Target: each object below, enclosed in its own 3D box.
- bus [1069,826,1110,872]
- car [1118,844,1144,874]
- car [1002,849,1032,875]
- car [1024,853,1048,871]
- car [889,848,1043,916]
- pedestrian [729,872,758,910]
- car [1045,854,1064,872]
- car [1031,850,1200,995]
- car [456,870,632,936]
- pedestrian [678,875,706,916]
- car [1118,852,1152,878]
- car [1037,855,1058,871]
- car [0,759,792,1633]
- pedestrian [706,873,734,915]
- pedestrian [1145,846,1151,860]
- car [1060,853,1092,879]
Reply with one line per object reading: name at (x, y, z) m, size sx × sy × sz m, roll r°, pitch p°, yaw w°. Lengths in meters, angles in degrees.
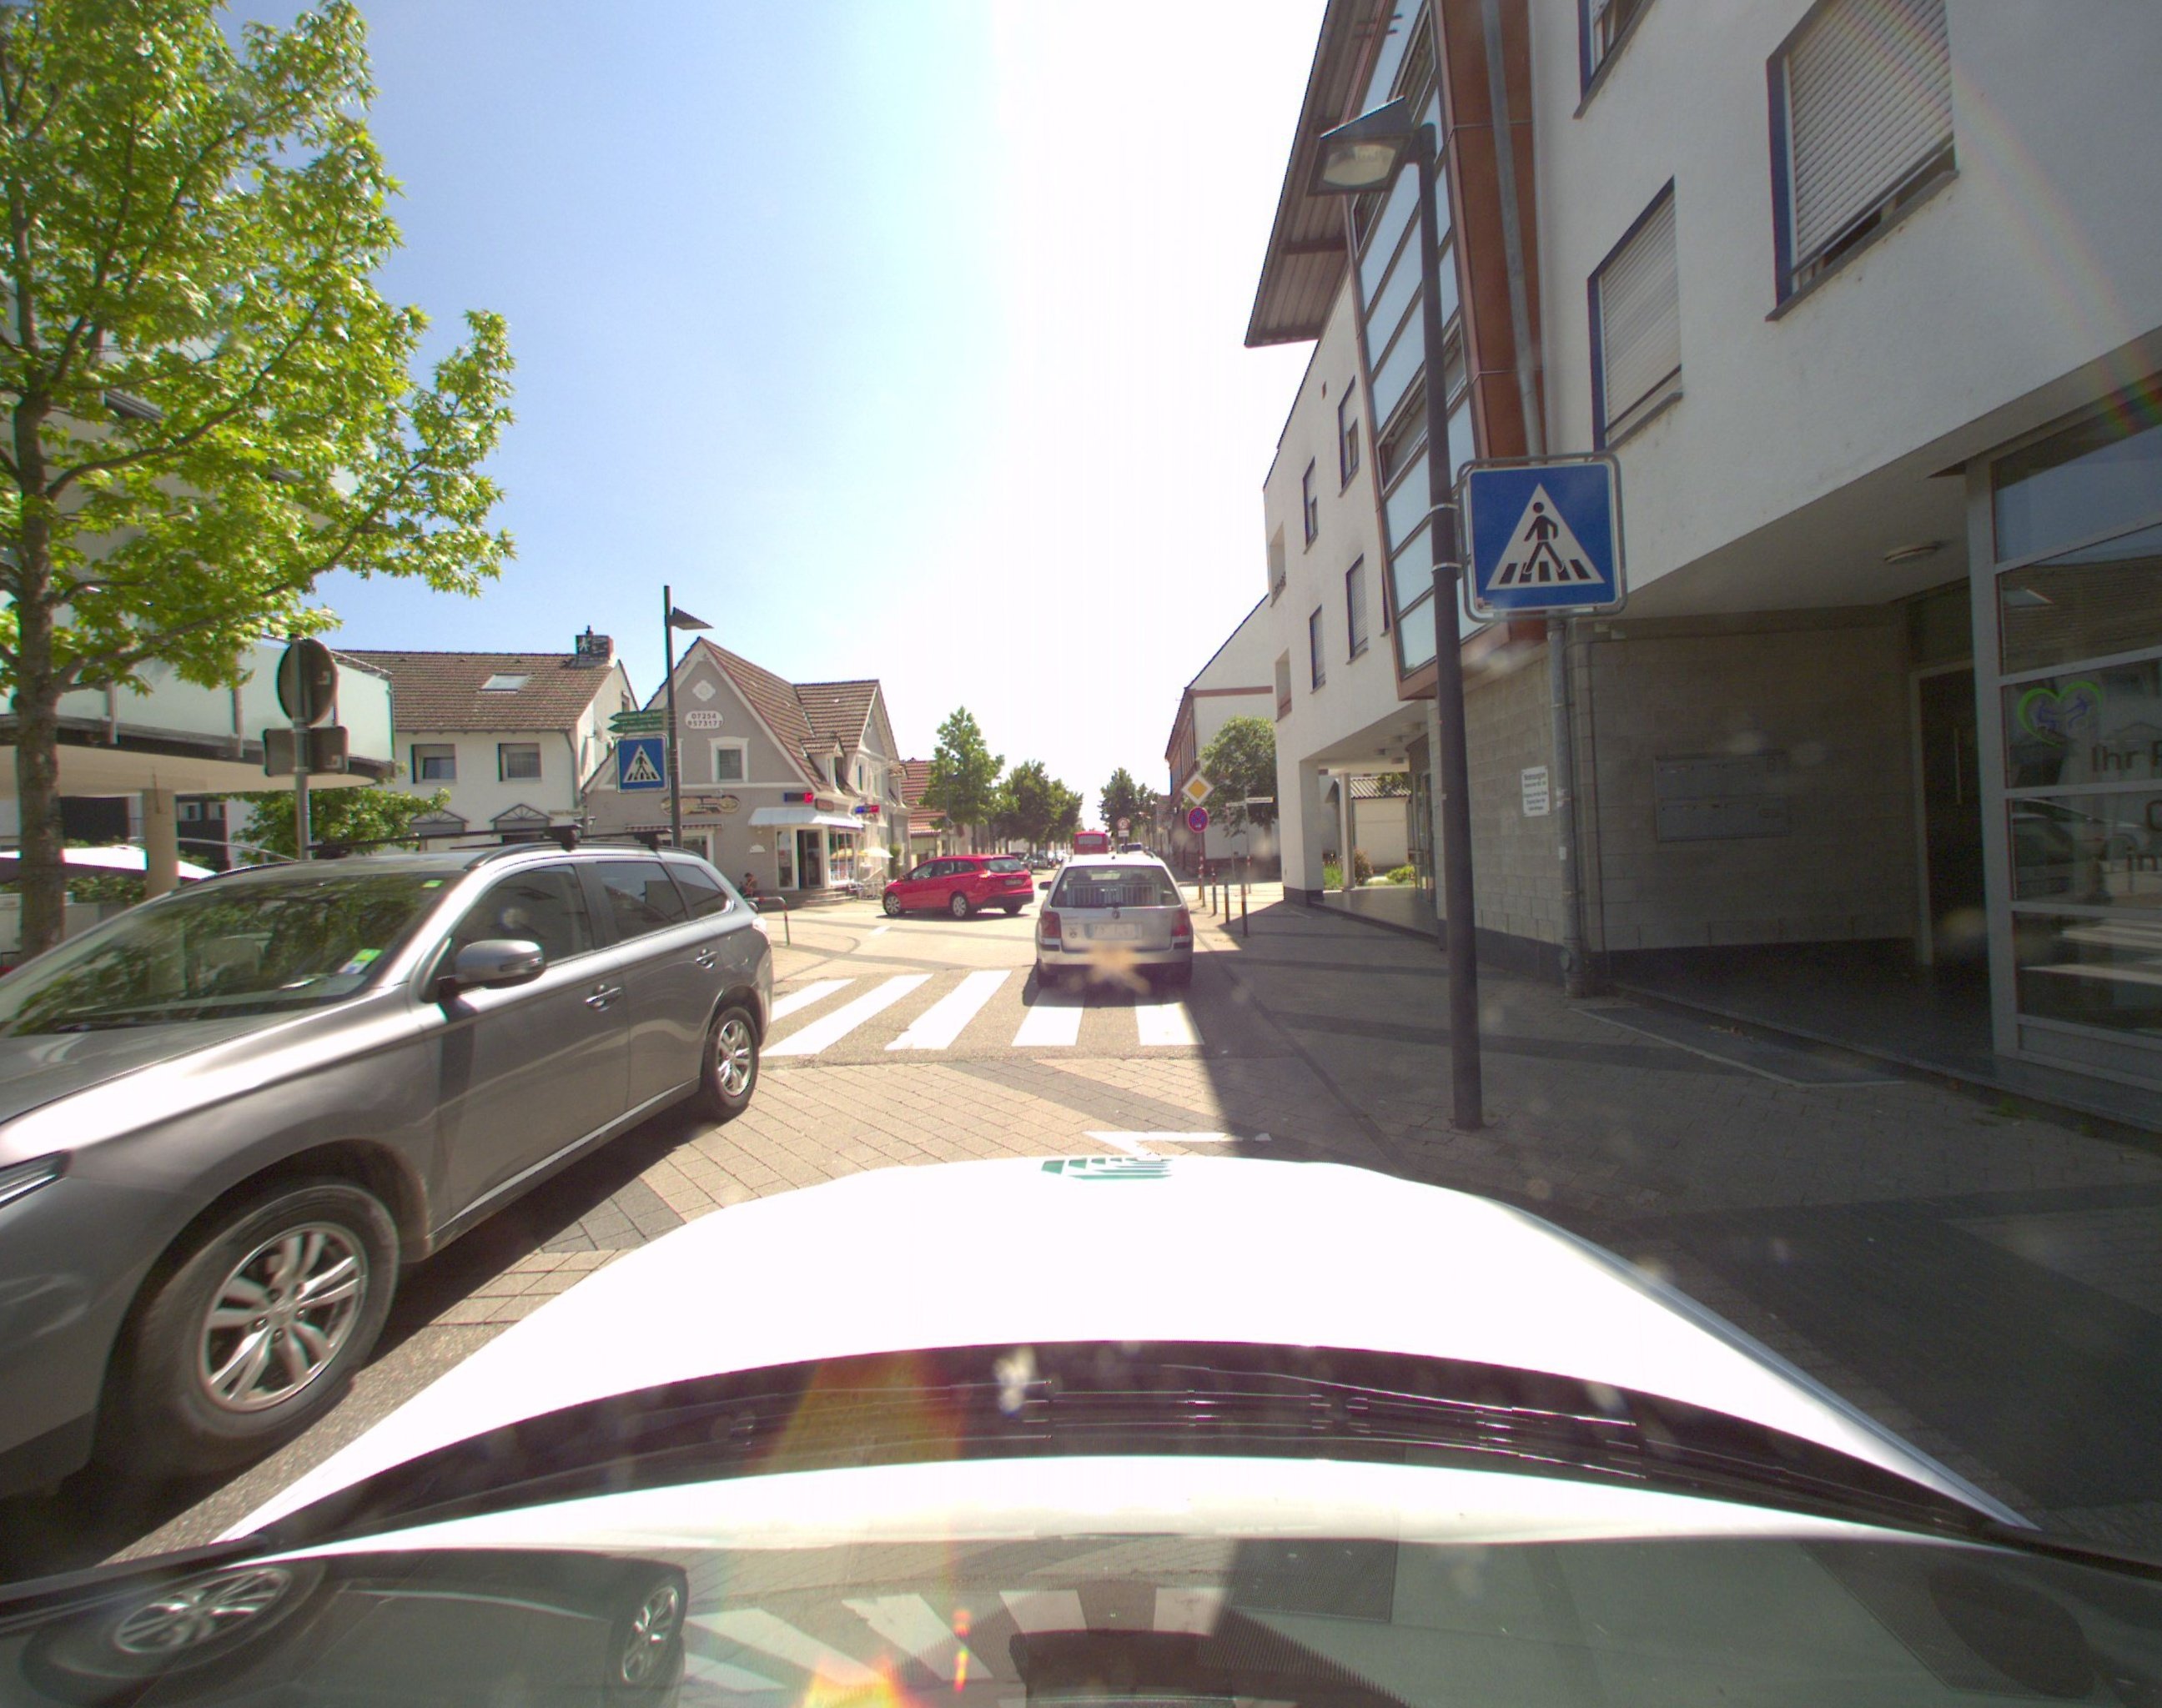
bus at (0.857, -0.352, 66.745) m, size 2.729 × 3.298 × 12.714 m, roll -2°, pitch 0°, yaw 3°
car at (3.697, 0.371, 60.881) m, size 1.781 × 2.082 × 3.627 m, roll -3°, pitch 0°, yaw 2°
car at (-4.863, 0.568, 62.138) m, size 1.758 × 1.838 × 3.790 m, roll -3°, pitch 0°, yaw 2°
car at (-4.218, 0.740, 76.994) m, size 1.804 × 1.559 × 4.002 m, roll -3°, pitch 0°, yaw 2°
car at (-2.833, 0.674, 19.655) m, size 3.632 × 1.430 × 1.693 m, roll -3°, pitch 0°, yaw 42°
pedestrian at (-11.210, 1.218, 27.070) m, size 0.620 × 1.179 × 0.696 m, roll -3°, pitch 0°, yaw -2°
car at (-3.072, 0.983, 95.715) m, size 1.804 × 1.995 × 4.002 m, roll -3°, pitch 0°, yaw 2°
car at (0.416, 0.682, 9.991) m, size 1.670 × 1.430 × 3.681 m, roll -1°, pitch 0°, yaw 2°
car at (-15.580, 1.383, 23.842) m, size 3.922 × 1.545 × 1.511 m, roll -3°, pitch 2°, yaw -15°
pedestrian at (-12.543, 1.324, 26.269) m, size 0.639 × 1.289 × 0.780 m, roll 0°, pitch -1°, yaw -41°
car at (2.971, 0.585, 45.616) m, size 1.713 × 1.309 × 3.627 m, roll -3°, pitch 0°, yaw 2°
car at (-3.441, 0.902, 83.568) m, size 1.804 × 1.559 × 4.002 m, roll -3°, pitch 0°, yaw 2°
car at (-2.935, 0.701, 3.559) m, size 1.669 × 1.716 × 4.233 m, roll -3°, pitch 0°, yaw 1°
pedestrian at (-11.560, 1.267, 26.083) m, size 0.639 × 1.289 × 0.780 m, roll 0°, pitch -1°, yaw -41°
pedestrian at (7.909, -0.098, 96.052) m, size 0.604 × 1.667 × 0.789 m, roll -3°, pitch 0°, yaw 1°
car at (-0.258, 0.672, 47.333) m, size 1.587 × 1.430 × 3.682 m, roll -1°, pitch 0°, yaw 3°
